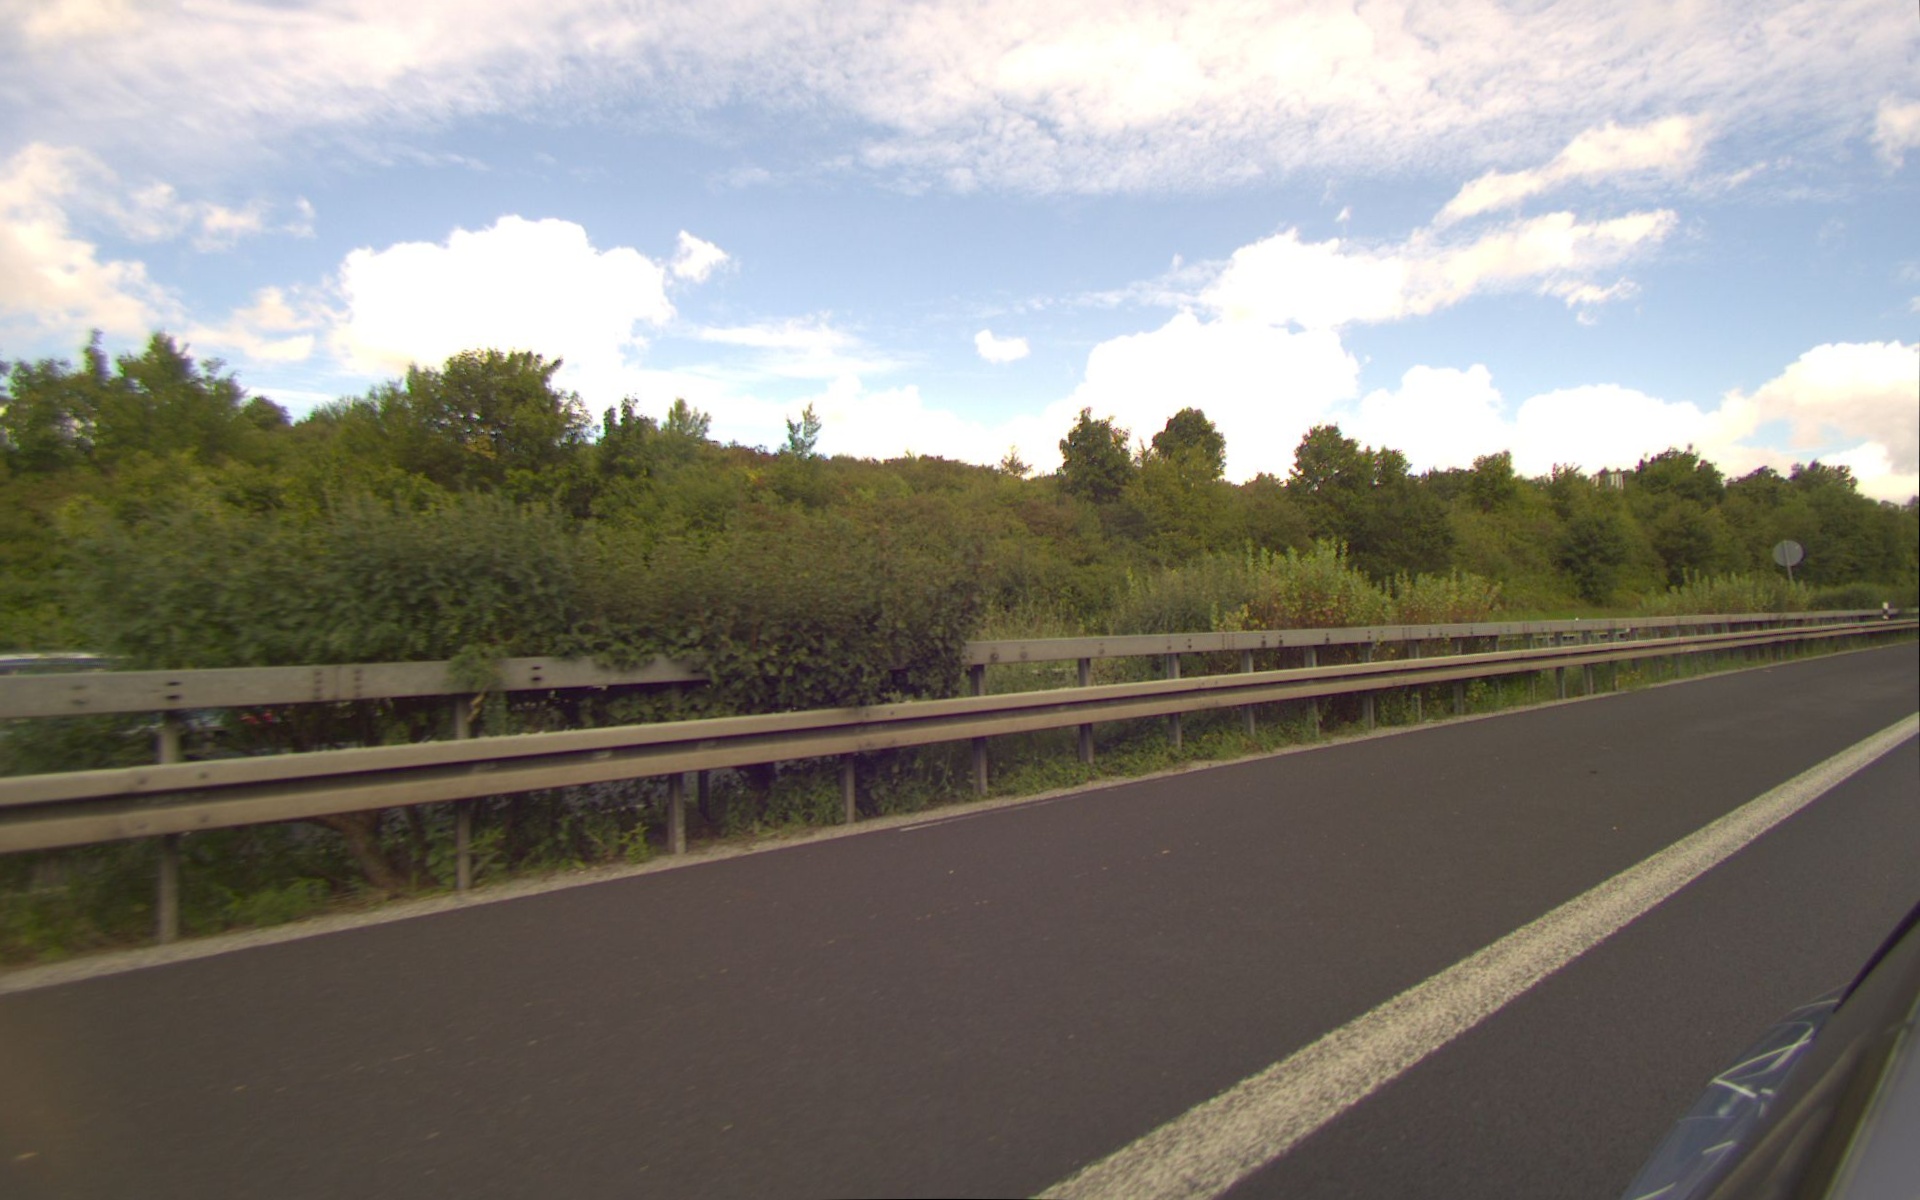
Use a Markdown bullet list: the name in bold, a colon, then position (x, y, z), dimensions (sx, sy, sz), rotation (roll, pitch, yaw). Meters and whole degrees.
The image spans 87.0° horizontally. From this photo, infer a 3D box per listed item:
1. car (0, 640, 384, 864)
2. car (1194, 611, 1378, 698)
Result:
- **car**: position (-7.579, 1.205, 8.437), dimensions (4.595, 1.538, 1.787), rotation (0, 0, -41)
- **car**: position (6.922, 1.057, 21.263), dimensions (4.269, 1.591, 1.786), rotation (0, 0, -42)
